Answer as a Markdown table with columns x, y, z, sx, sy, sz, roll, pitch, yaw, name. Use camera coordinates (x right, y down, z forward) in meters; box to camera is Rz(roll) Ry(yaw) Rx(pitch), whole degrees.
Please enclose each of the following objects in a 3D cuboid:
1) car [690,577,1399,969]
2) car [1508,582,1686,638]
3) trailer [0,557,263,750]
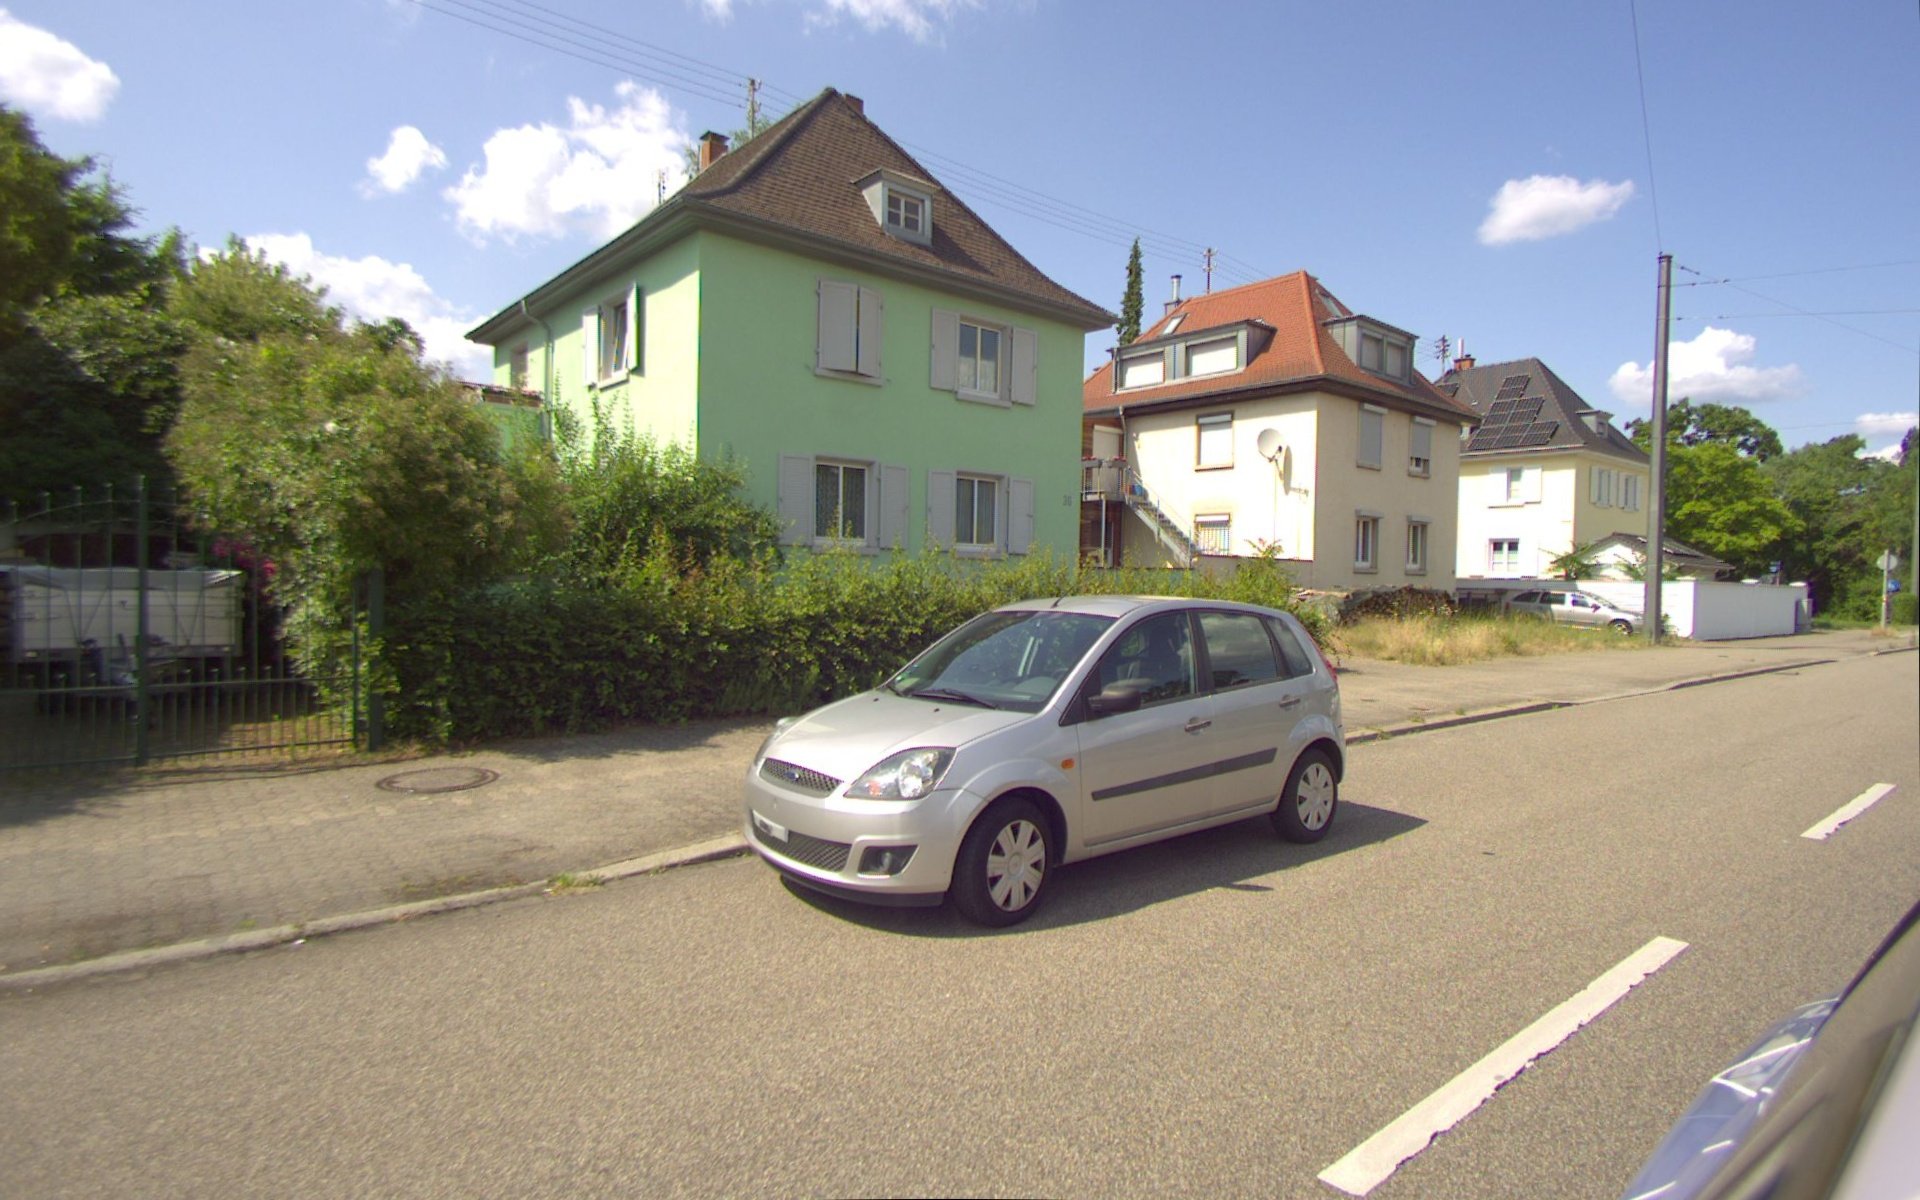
| x | y | z | sx | sy | sz | roll | pitch | yaw | name |
| --- | --- | --- | --- | --- | --- | --- | --- | --- | --- |
| 0.700 | 0.639 | 5.847 | 4.021 | 1.508 | 1.741 | -1 | 0 | -39 | car |
| 20.202 | 0.266 | 32.282 | 1.731 | 1.479 | 4.461 | 0 | 3 | -38 | car |
| -7.608 | 0.317 | 9.291 | 1.644 | 1.343 | 4.257 | 0 | 2 | -39 | trailer |
